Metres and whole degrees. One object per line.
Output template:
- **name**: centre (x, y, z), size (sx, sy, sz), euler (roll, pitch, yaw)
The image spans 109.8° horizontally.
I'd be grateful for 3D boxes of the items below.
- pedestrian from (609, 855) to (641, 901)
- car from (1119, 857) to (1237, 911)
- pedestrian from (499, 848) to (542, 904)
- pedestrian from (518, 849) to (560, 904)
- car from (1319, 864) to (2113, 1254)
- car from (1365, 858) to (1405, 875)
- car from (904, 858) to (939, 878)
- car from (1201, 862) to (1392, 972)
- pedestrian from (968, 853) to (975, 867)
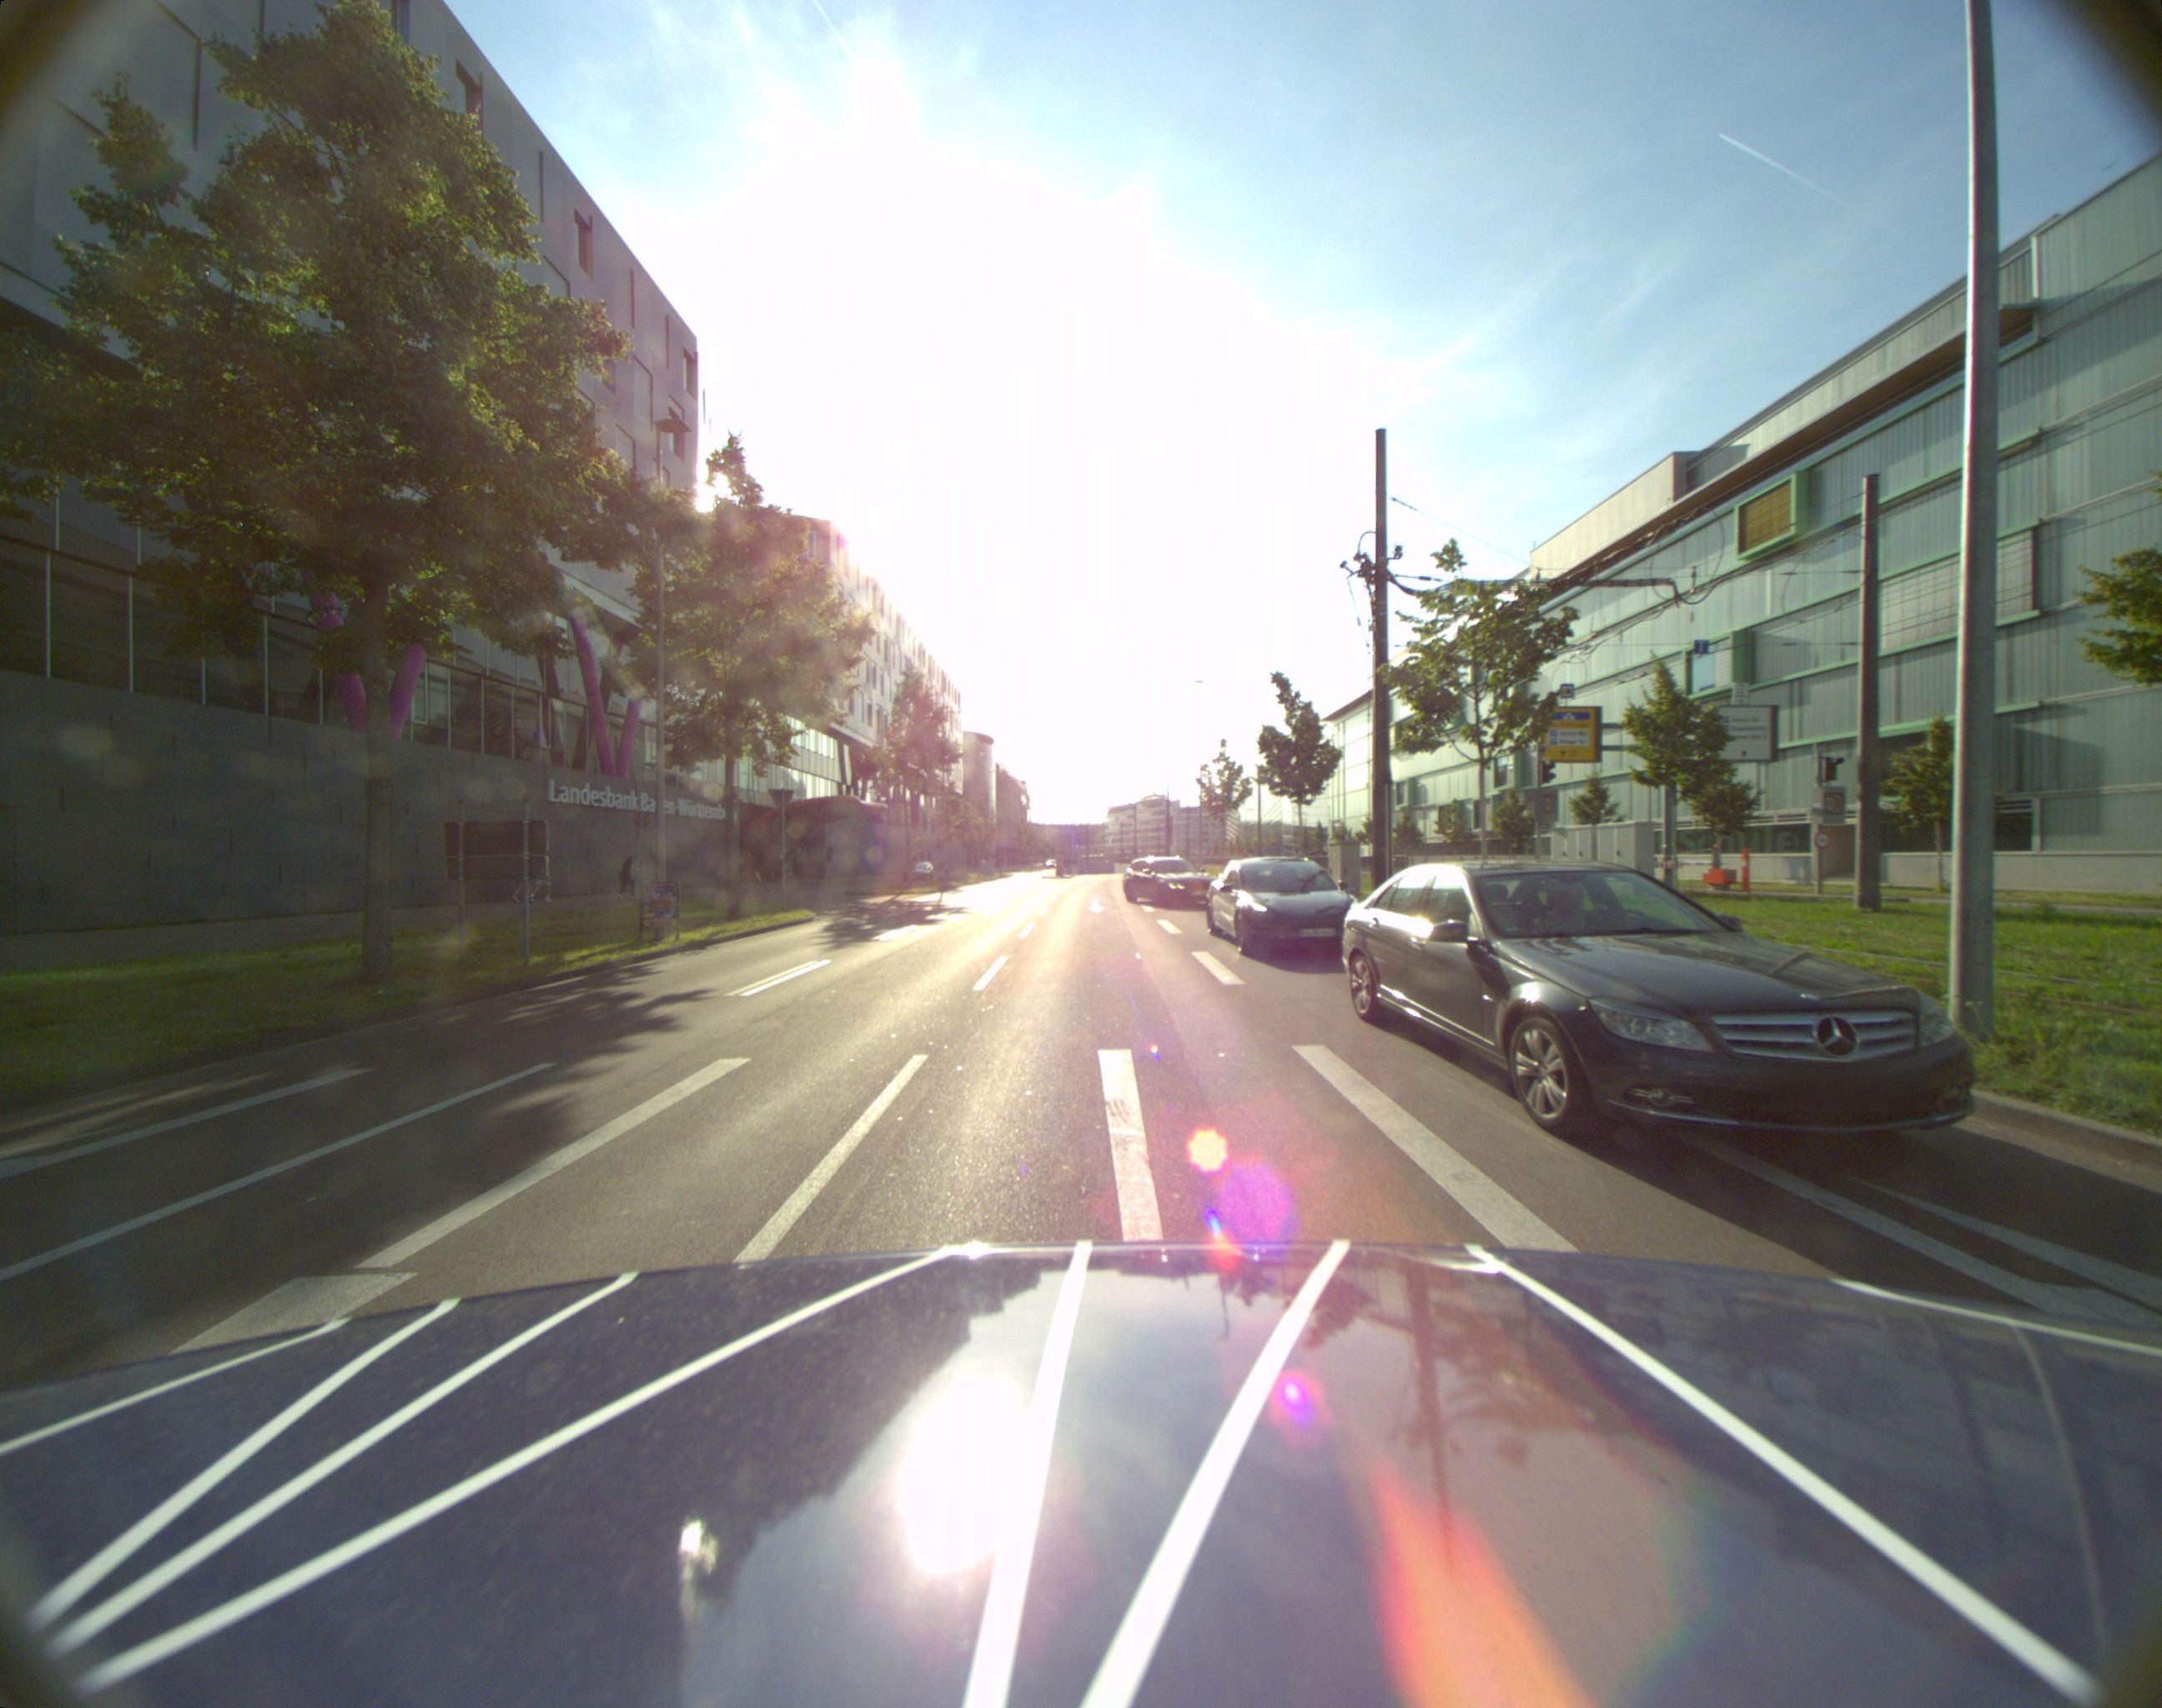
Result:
- **pedestrian**: centre (-16.477, 0.873, 27.476), size (0.695, 1.629, 0.737), euler (1, 0, 0)
- **car**: centre (2.867, 0.870, 23.508), size (1.897, 1.418, 4.467), euler (-2, 0, -17)
- **pedestrian**: centre (-18.741, 0.729, 25.431), size (0.770, 1.814, 0.853), euler (2, 0, 0)
- **pedestrian**: centre (-18.192, 0.751, 25.526), size (0.756, 1.783, 0.844), euler (2, 0, 0)
- **car**: centre (3.236, 0.854, 5.229), size (1.791, 1.470, 4.353), euler (-2, 0, 0)
- **car**: centre (27.571, 1.100, 69.080), size (1.882, 1.519, 4.223), euler (0, 0, -1)
- **car**: centre (-11.602, 0.989, 55.593), size (1.696, 1.382, 4.199), euler (0, -1, -1)
- **car**: centre (3.218, 0.869, 12.321), size (1.894, 1.377, 4.335), euler (-2, 0, 1)
- **pedestrian**: centre (-13.884, 0.729, 96.127), size (0.725, 1.776, 0.771), euler (0, 1, 0)
